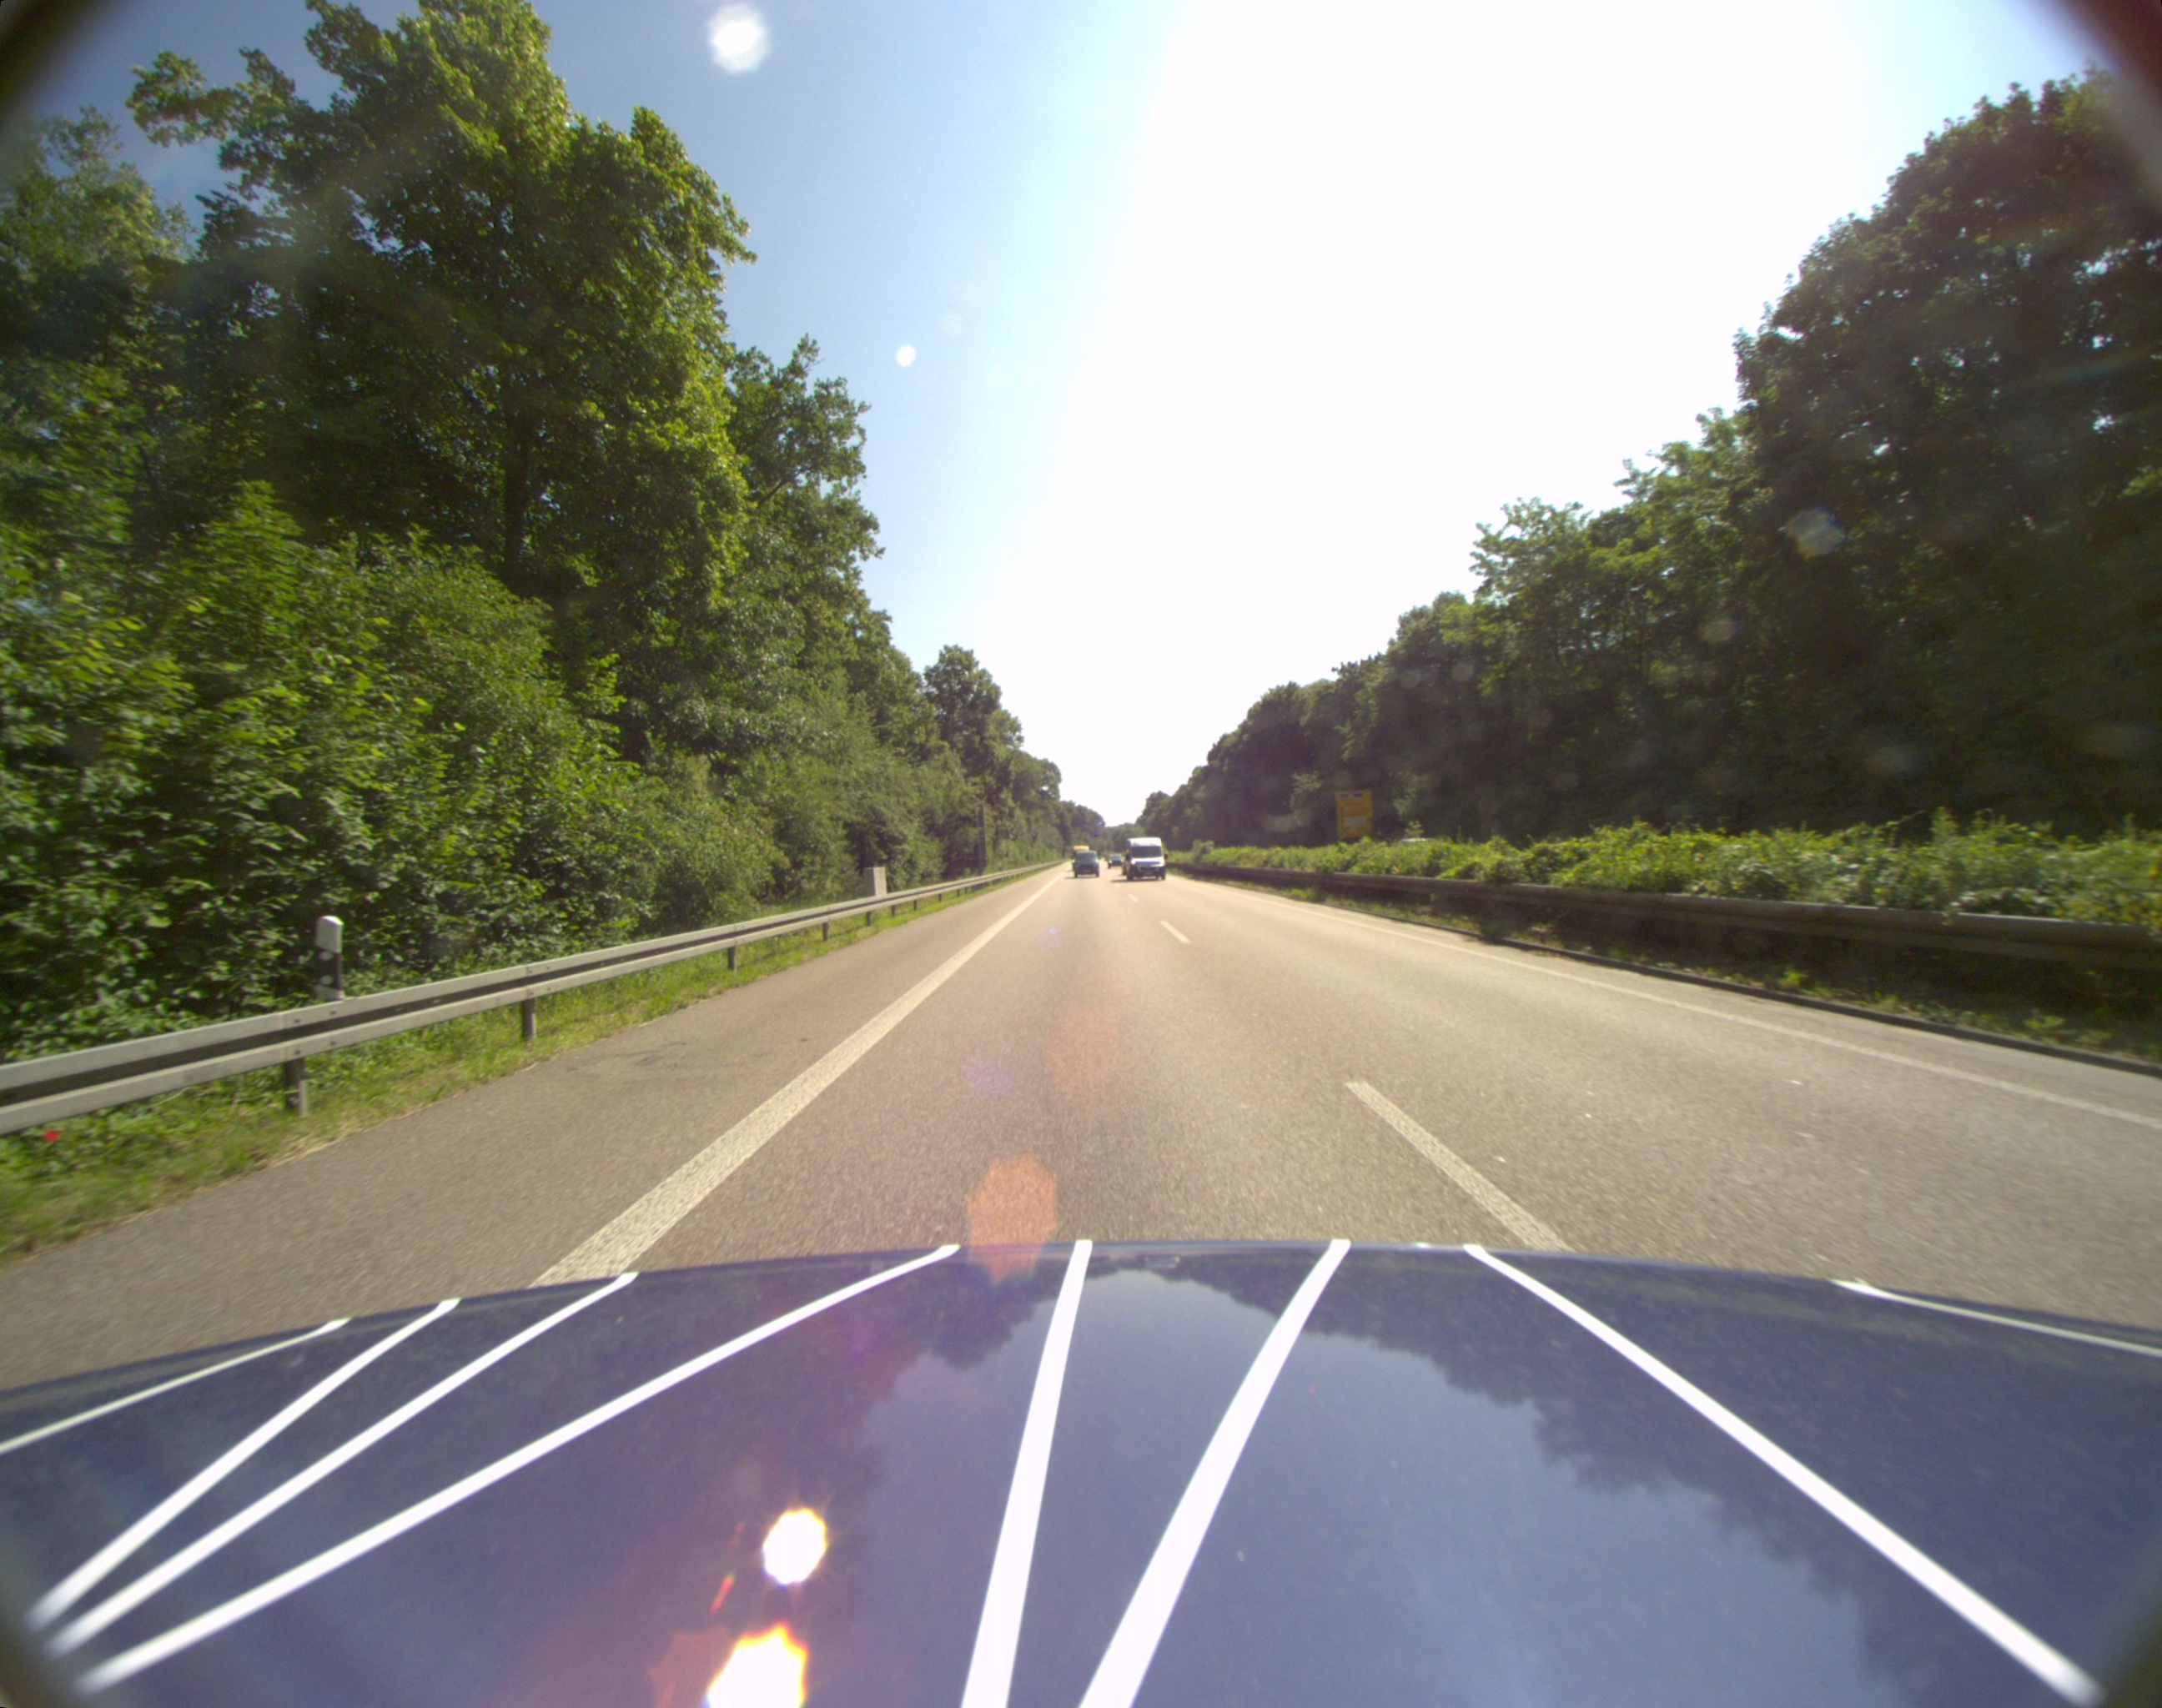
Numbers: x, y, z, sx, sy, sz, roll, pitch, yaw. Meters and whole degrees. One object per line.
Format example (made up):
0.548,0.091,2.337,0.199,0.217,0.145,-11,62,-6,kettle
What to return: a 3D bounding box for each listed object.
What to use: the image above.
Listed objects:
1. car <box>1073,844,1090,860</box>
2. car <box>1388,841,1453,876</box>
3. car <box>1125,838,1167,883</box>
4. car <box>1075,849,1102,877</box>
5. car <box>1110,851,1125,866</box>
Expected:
0.116,-0.228,83.432,1.737,1.624,3.899,-2,0,1,car
16.031,0.194,36.045,1.552,1.557,3.384,-2,0,0,car
3.785,0.357,44.953,2.046,2.429,4.637,-2,1,0,car
0.533,0.594,55.677,1.812,1.921,4.581,-2,0,0,car
4.185,0.459,87.420,1.517,1.624,3.611,-2,0,1,car
